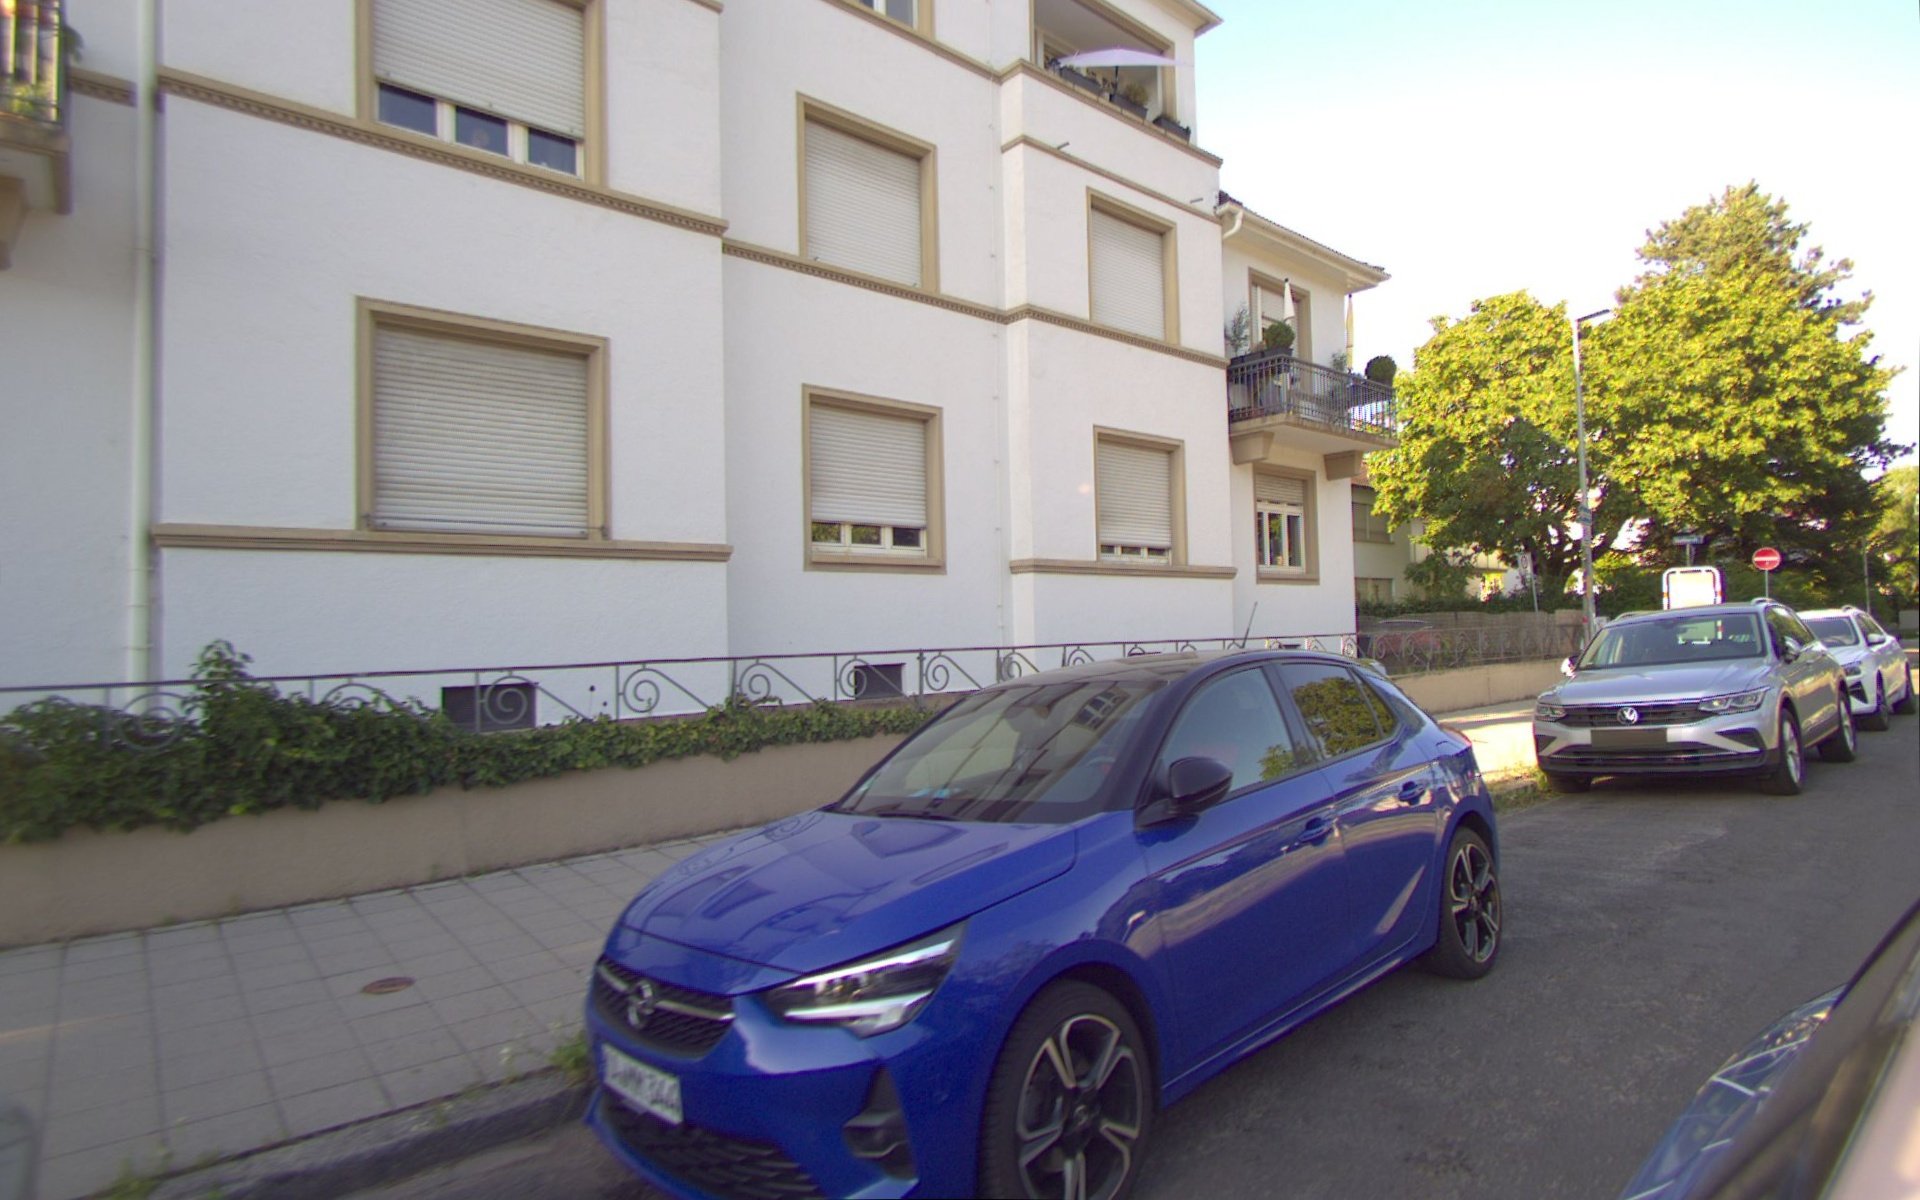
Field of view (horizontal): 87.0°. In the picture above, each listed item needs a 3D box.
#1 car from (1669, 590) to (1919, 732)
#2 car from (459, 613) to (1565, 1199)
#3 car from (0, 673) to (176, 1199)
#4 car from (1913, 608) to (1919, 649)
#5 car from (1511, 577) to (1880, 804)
[{"bbox_3d":[11.430,0.757,13.549,4.507,1.554,1.878,-1,-7,-39],"label":"car"},{"bbox_3d":[0.584,0.913,3.969,4.230,1.454,1.764,0,-7,-42],"label":"car"},{"bbox_3d":[-3.278,0.920,0.491,4.484,1.580,1.913,2,-7,-40],"label":"car"},{"bbox_3d":[28.715,0.847,28.515,4.058,1.423,2.108,1,-7,-40],"label":"car"},{"bbox_3d":[7.164,0.733,9.659,4.506,1.670,1.802,-1,-6,-42],"label":"car"}]
